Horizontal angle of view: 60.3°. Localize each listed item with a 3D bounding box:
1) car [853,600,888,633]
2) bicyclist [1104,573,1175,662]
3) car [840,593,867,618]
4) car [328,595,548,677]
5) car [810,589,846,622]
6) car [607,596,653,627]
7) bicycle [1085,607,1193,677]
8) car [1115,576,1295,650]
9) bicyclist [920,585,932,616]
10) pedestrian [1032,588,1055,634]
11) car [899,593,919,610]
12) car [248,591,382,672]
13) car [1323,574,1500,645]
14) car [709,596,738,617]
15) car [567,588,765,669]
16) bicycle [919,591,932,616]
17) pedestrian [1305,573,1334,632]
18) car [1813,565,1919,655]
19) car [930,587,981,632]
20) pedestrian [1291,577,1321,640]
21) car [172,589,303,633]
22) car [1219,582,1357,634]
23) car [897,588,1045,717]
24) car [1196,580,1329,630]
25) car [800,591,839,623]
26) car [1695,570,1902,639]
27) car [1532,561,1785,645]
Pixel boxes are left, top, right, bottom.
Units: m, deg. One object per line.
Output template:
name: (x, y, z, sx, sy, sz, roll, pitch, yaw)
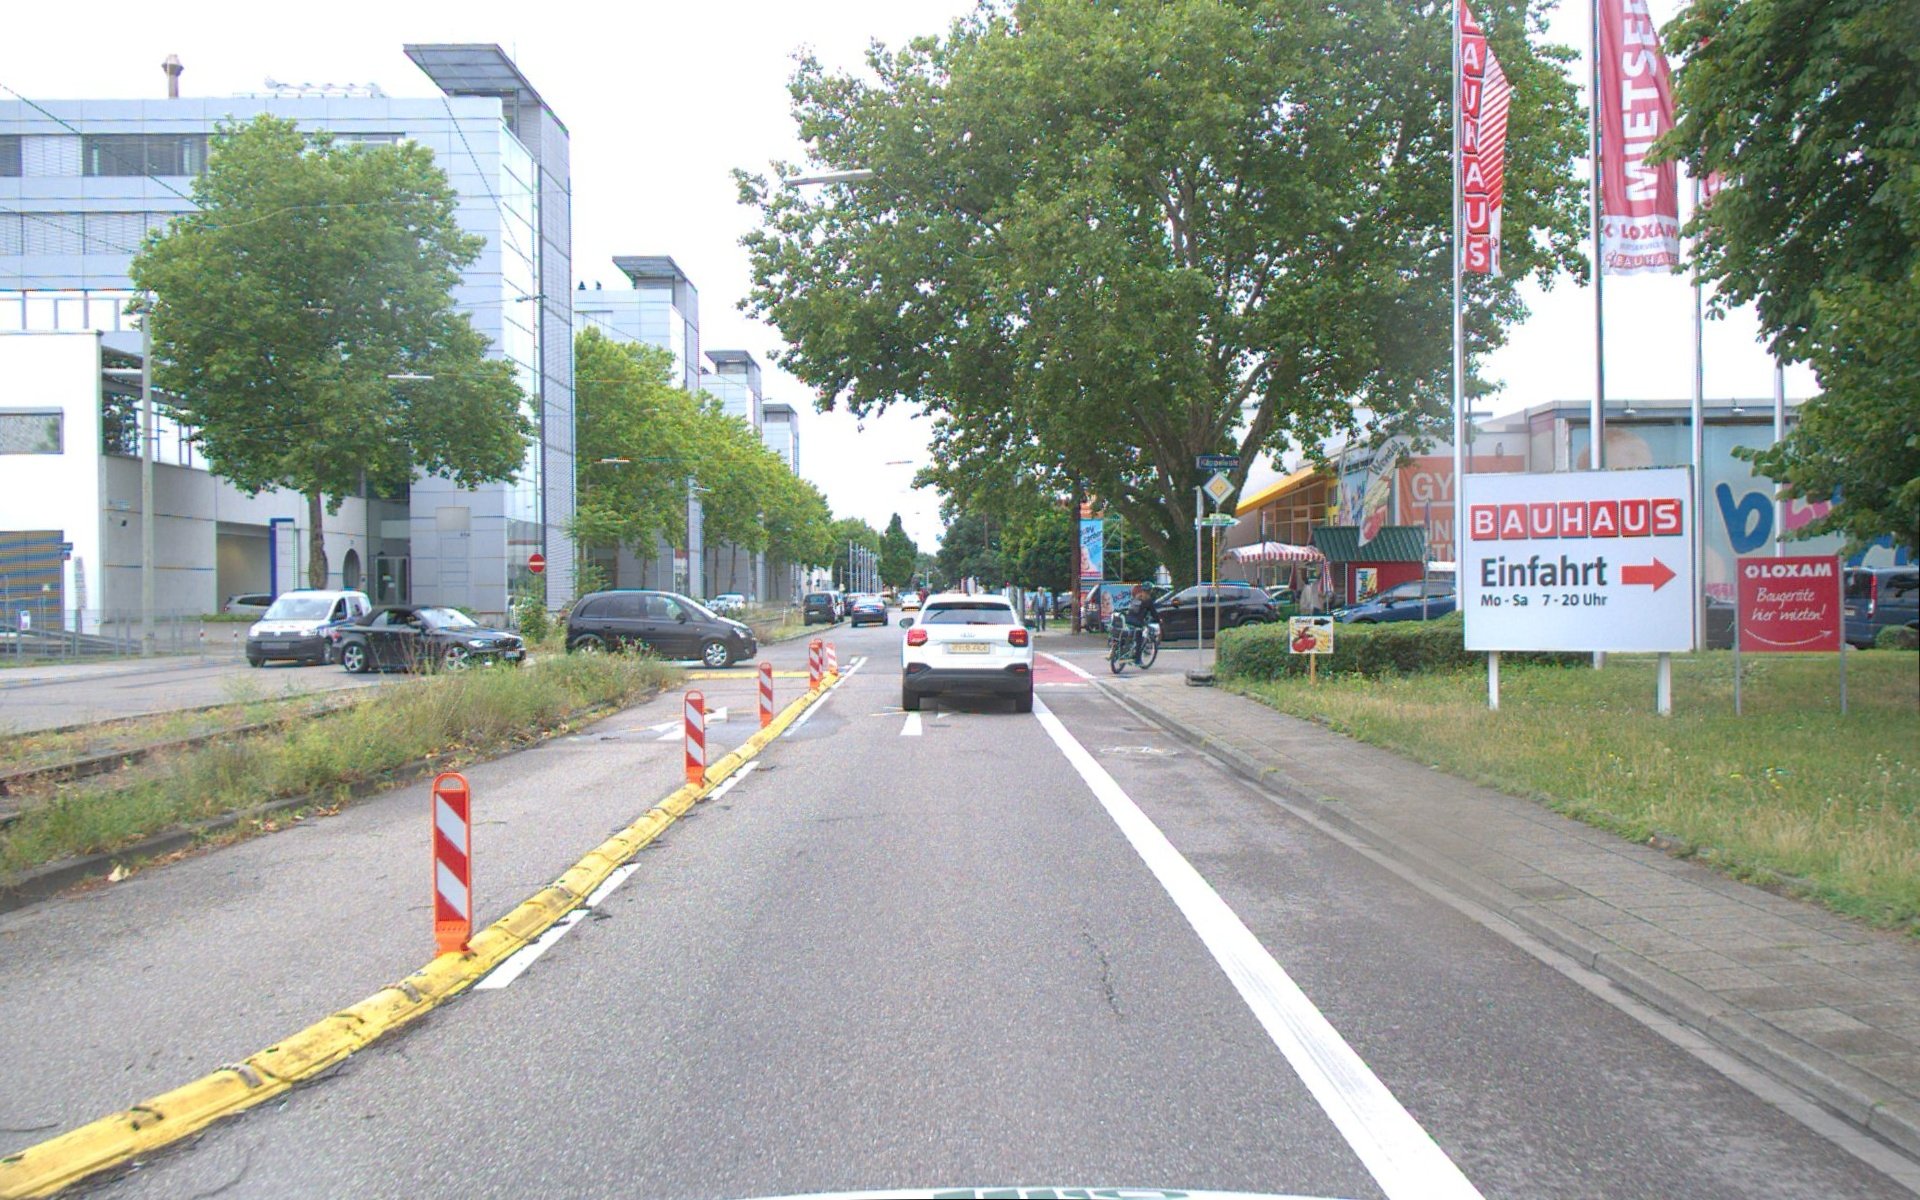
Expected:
car: (-4.397, 0.799, 81.132, 1.651, 1.540, 3.703, 0, 1, -4)
bicyclist: (3.454, 0.328, 31.766, 0.803, 1.658, 1.230, -1, 0, 37)
car: (-7.915, 0.394, 123.476, 1.839, 1.794, 3.998, -1, 0, -2)
car: (-10.660, 0.748, 33.784, 4.032, 1.501, 1.825, -3, -2, 22)
car: (-7.591, 0.289, 95.080, 1.839, 1.794, 3.998, -1, 0, -2)
car: (-18.678, 0.608, 93.692, 1.839, 1.661, 4.204, -2, 0, -2)
bicycle: (3.467, 0.781, 31.768, 0.803, 1.234, 2.672, -1, 0, 37)
car: (6.133, 0.316, 41.831, 4.226, 1.706, 1.992, -1, 0, -1)
bicyclist: (-2.009, 0.022, 97.031, 0.657, 1.847, 0.759, 0, 0, -4)
pedestrian: (3.174, 0.419, 62.651, 0.746, 1.734, 0.681, -1, 0, -6)
car: (-4.648, 0.143, 150.556, 1.760, 1.540, 3.703, 0, 1, -4)
car: (-15.699, 0.725, 40.477, 1.783, 1.814, 4.423, -1, 0, -4)
car: (11.570, 0.237, 42.619, 4.123, 1.706, 1.994, -1, 0, 7)
car: (-19.040, 0.514, 133.094, 1.839, 1.661, 4.204, -2, 0, -2)
car: (-6.076, 0.576, 34.510, 3.804, 1.583, 1.825, 1, 0, -1)
bicycle: (-2.006, 0.202, 96.906, 0.657, 1.418, 2.165, 0, 1, -4)
pedestrian: (10.641, 0.074, 48.938, 0.666, 1.734, 0.598, -1, 0, -3)
car: (20.926, 0.170, 35.231, 4.460, 1.821, 2.073, -1, 1, -1)
car: (-0.215, 0.356, 65.662, 1.839, 1.661, 3.998, -2, 0, -2)
pedestrian: (9.675, 0.225, 46.224, 0.666, 1.734, 0.598, -1, 0, -3)
car: (-28.946, 0.438, 66.395, 4.422, 1.699, 1.824, 1, 0, -4)
car: (10.728, 0.260, 54.282, 4.129, 1.579, 1.789, -1, 0, -4)
car: (0.072, 0.659, 22.997, 1.787, 1.628, 3.773, 0, 1, -4)
car: (10.281, 0.158, 56.419, 4.129, 1.579, 1.789, -1, 0, -4)
car: (-7.577, 0.360, 89.263, 1.839, 1.661, 3.998, -2, 0, -2)
car: (22.233, 0.123, 43.996, 4.458, 1.706, 2.082, -1, 0, 3)
car: (14.627, 0.058, 34.791, 4.460, 1.599, 1.992, -1, 0, -1)
